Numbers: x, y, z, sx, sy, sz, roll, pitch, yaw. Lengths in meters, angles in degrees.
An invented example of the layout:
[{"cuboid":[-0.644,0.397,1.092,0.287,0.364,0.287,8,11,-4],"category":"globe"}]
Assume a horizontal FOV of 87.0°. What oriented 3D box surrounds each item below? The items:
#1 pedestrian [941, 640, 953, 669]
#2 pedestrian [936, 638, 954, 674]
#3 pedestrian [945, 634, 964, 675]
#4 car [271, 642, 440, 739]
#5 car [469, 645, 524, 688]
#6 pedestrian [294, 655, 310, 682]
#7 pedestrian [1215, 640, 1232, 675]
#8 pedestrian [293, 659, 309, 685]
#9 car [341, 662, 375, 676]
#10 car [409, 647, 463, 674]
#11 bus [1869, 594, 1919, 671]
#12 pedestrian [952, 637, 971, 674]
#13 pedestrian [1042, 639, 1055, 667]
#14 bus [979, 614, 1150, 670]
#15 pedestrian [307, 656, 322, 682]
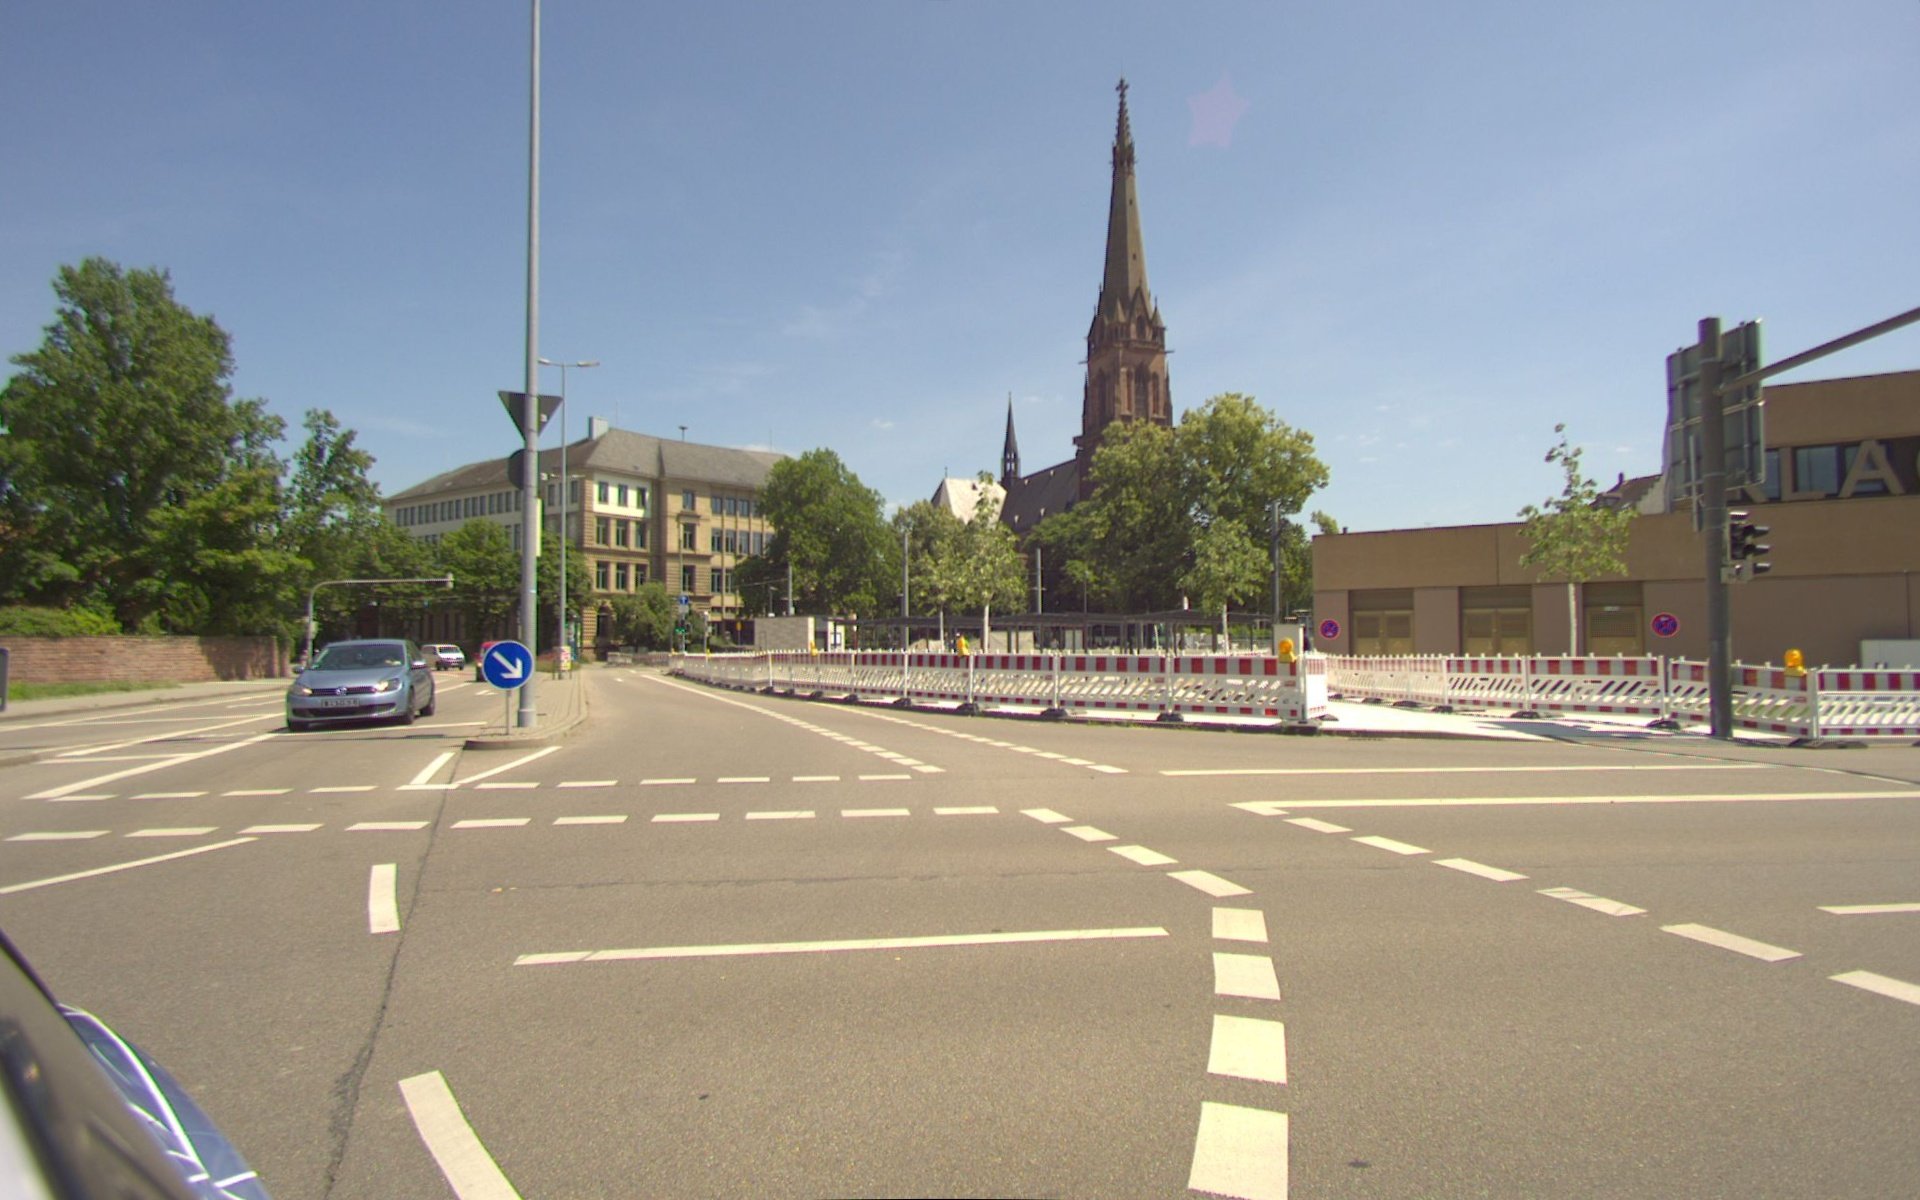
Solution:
[{"cuboid":[-0.805,3.323,61.607,0.560,1.714,0.578,-3,-2,15],"category":"pedestrian"},{"cuboid":[-0.758,2.802,50.923,0.655,1.769,0.536,-3,-2,25],"category":"pedestrian"},{"cuboid":[-0.288,2.657,49.382,0.575,1.920,0.685,-4,-2,33],"category":"pedestrian"},{"cuboid":[-10.150,1.451,17.305,1.802,1.425,4.007,1,-3,-21],"category":"car"},{"cuboid":[-21.116,3.013,46.240,1.802,1.780,4.292,-2,-2,-18],"category":"car"},{"cuboid":[-40.897,4.258,62.916,0.557,1.624,0.597,-4,-7,37],"category":"pedestrian"},{"cuboid":[14.142,3.090,54.333,0.604,1.872,0.692,-4,-2,30],"category":"pedestrian"},{"cuboid":[-42.433,4.633,65.177,0.557,1.624,0.597,-4,-7,37],"category":"pedestrian"},{"cuboid":[-70.382,8.073,118.338,1.596,1.464,3.572,-3,-2,6],"category":"car"},{"cuboid":[-40.085,4.622,77.355,4.244,1.877,1.691,-4,-2,31],"category":"car"},{"cuboid":[43.346,1.198,38.713,12.223,3.065,3.695,-2,-3,35],"category":"bus"},{"cuboid":[0.097,2.765,50.573,0.636,1.802,0.638,-4,-3,33],"category":"pedestrian"},{"cuboid":[5.182,3.102,59.157,0.518,1.632,0.532,-4,-2,30],"category":"pedestrian"},{"cuboid":[6.409,2.685,63.653,10.581,3.077,2.821,-4,-2,36],"category":"bus"},{"cuboid":[-42.745,4.572,67.022,0.557,1.726,0.597,-4,-7,36],"category":"pedestrian"}]
